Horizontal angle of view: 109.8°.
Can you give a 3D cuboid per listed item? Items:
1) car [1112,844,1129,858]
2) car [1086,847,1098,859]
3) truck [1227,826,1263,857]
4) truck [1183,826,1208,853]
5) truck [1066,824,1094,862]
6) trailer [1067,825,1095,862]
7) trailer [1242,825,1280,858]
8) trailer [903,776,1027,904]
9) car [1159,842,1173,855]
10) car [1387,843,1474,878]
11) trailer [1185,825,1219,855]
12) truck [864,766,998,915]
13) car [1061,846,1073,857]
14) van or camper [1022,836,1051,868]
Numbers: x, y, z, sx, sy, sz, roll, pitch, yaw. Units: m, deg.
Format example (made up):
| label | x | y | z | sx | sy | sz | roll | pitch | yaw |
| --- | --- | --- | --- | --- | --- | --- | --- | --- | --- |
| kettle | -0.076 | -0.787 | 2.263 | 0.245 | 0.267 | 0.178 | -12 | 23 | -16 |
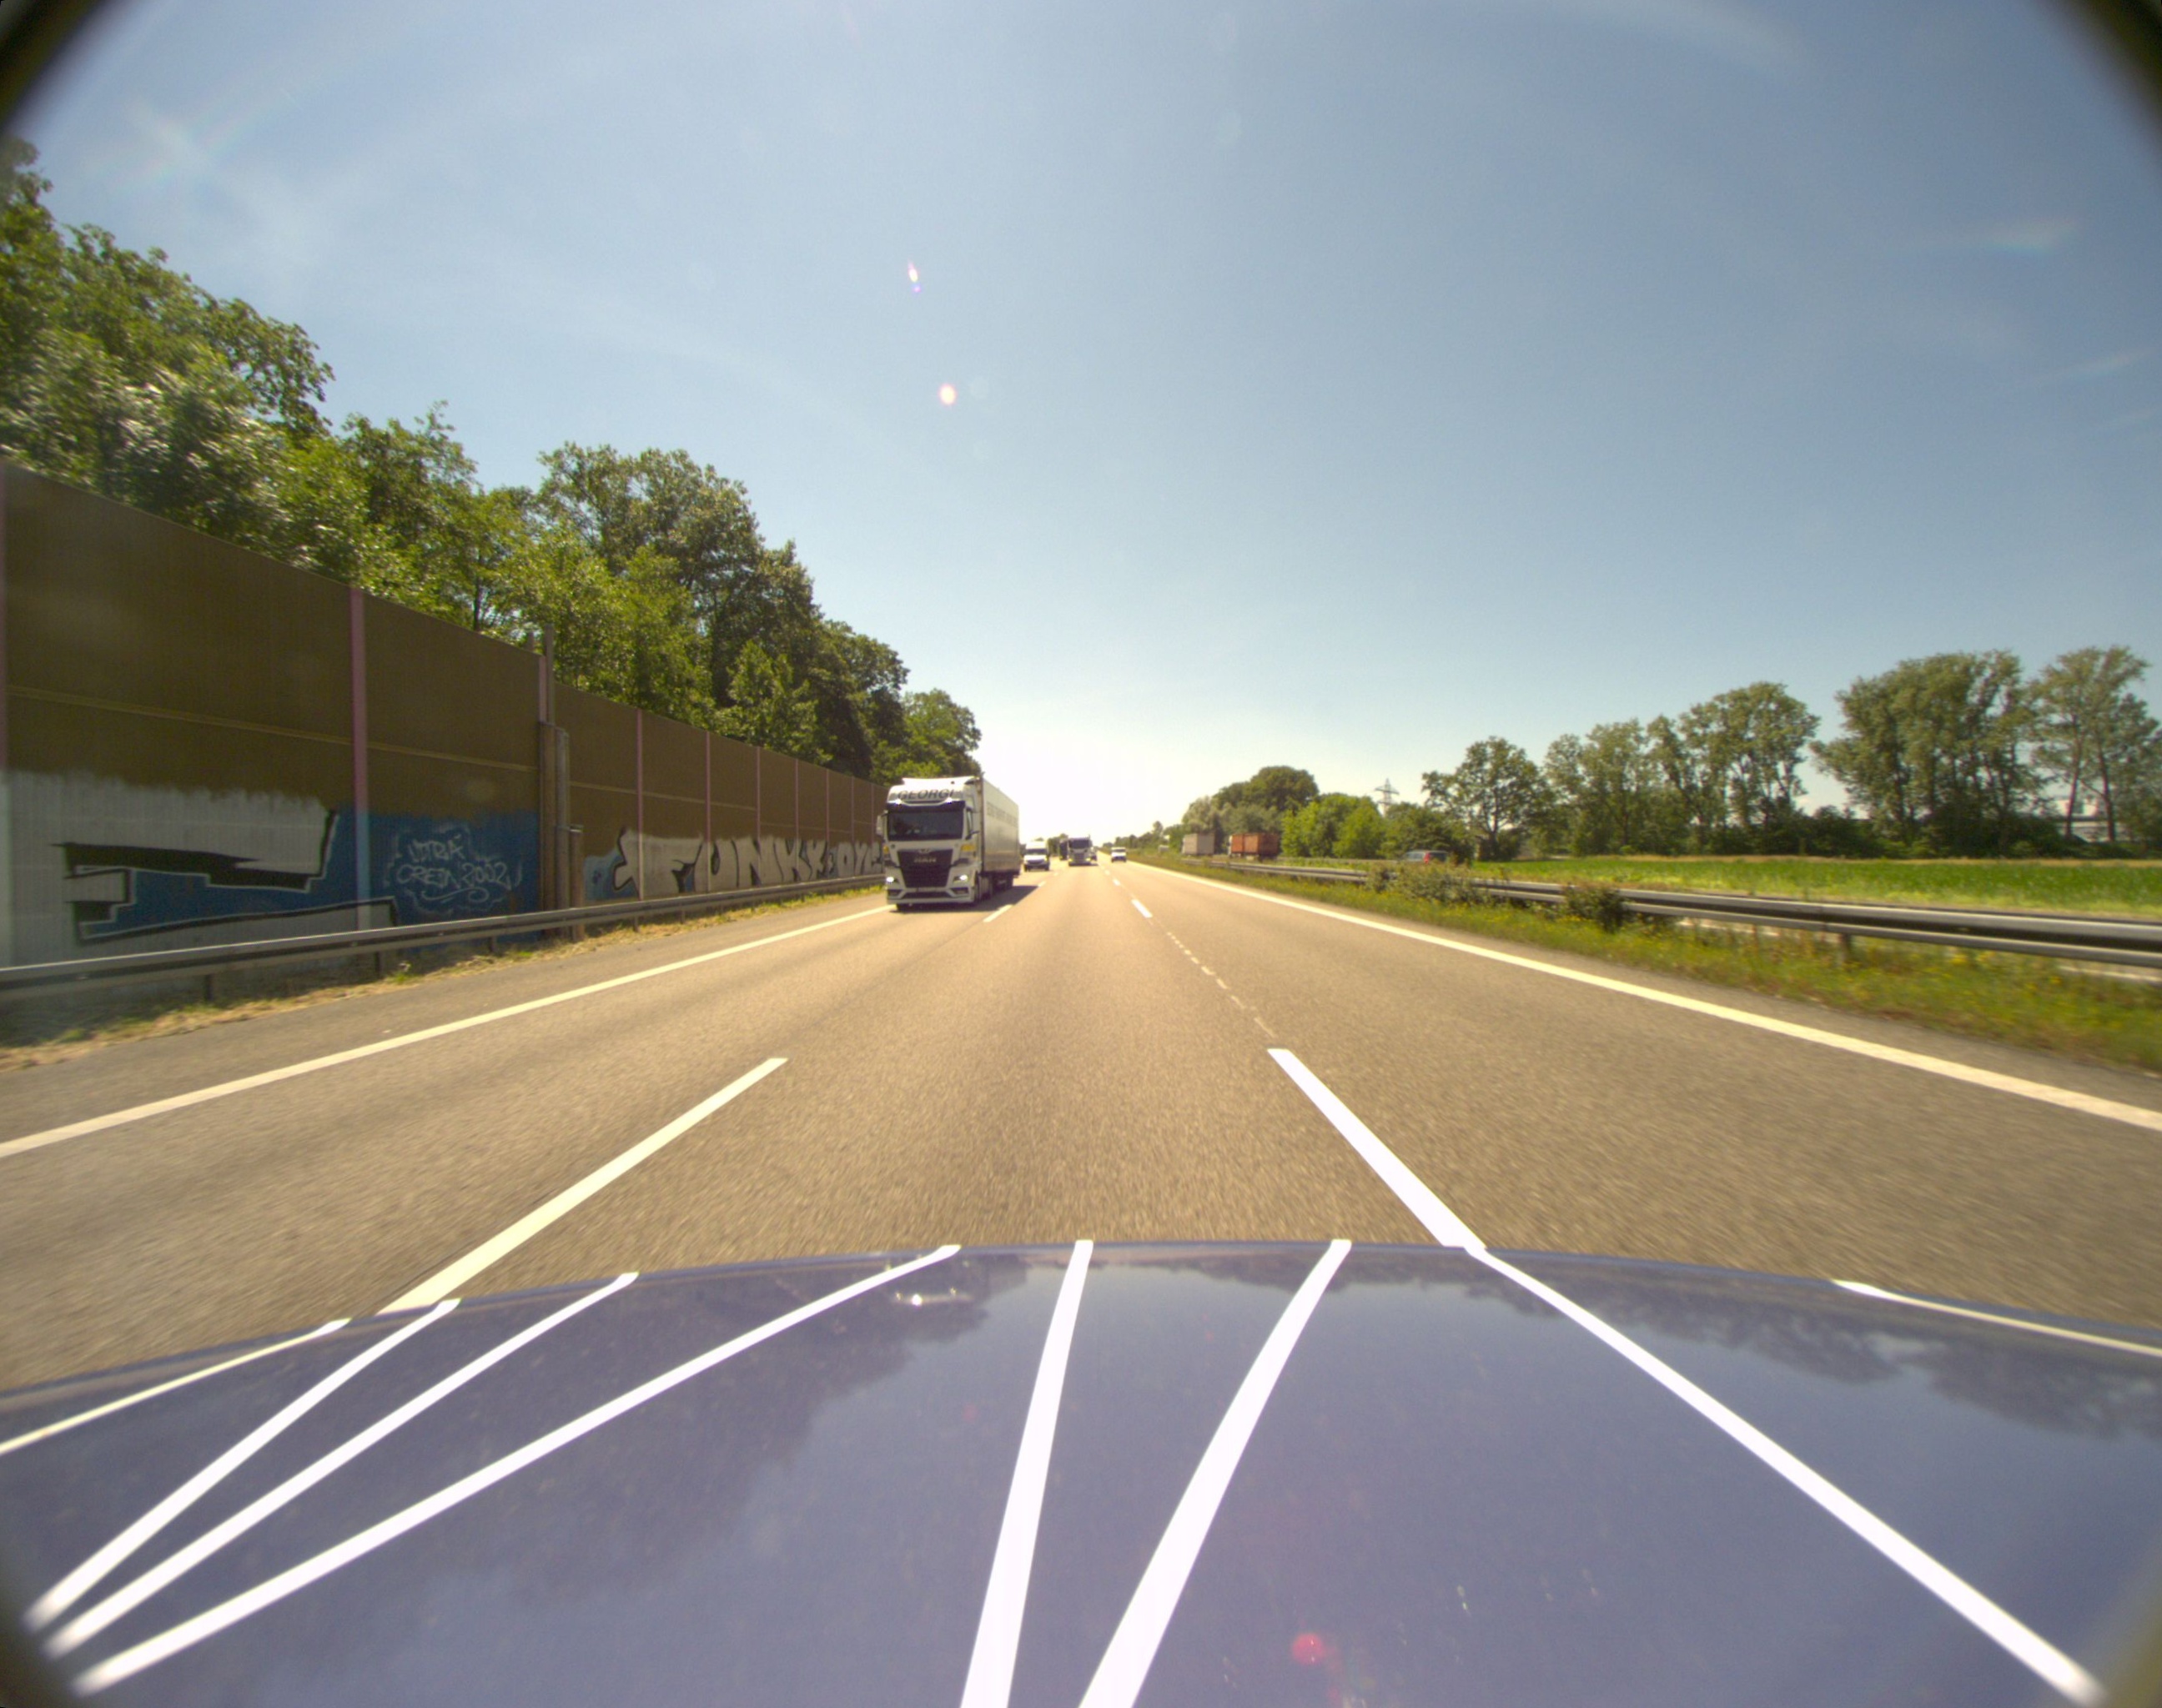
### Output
| label | x | y | z | sx | sy | sz | roll | pitch | yaw |
| --- | --- | --- | --- | --- | --- | --- | --- | --- | --- |
| car | 5.294 | -0.415 | 102.283 | 2.147 | 1.810 | 5.266 | -2 | 1 | 1 |
| car | 1.735 | -0.178 | 120.037 | 1.796 | 1.696 | 4.000 | -2 | 1 | 1 |
| truck | 22.358 | -1.693 | 104.197 | 2.655 | 3.862 | 10.825 | 2 | 1 | 1 |
| truck | 18.787 | -2.363 | 125.294 | 3.168 | 4.401 | 6.979 | 0 | 1 | 1 |
| truck | -0.042 | -1.241 | 84.331 | 2.896 | 4.007 | 6.868 | -2 | 1 | 1 |
| trailer | 0.009 | -1.284 | 88.560 | 2.927 | 4.018 | 7.315 | -2 | 1 | 0 |
| trailer | 22.268 | -1.556 | 94.433 | 2.665 | 3.897 | 8.660 | 2 | 1 | 1 |
| trailer | -4.419 | -0.576 | 32.620 | 3.001 | 4.264 | 13.416 | -2 | 1 | 1 |
| car | 19.875 | -1.396 | 178.245 | 2.553 | 2.965 | 8.085 | 0 | 1 | 2 |
| car | 17.775 | 0.304 | 38.949 | 1.998 | 1.670 | 5.552 | 0 | 0 | 1 |
| trailer | 18.678 | -2.237 | 118.405 | 3.203 | 4.397 | 13.323 | 0 | 1 | 1 |
| truck | -4.507 | -0.423 | 24.054 | 3.010 | 4.101 | 5.252 | -2 | 1 | 0 |
| car | -2.611 | -0.401 | 141.872 | 1.998 | 2.002 | 4.867 | 0 | 1 | 1 |
| van or camper | -3.917 | -0.234 | 67.927 | 2.027 | 2.622 | 6.486 | -2 | 1 | 0 |
